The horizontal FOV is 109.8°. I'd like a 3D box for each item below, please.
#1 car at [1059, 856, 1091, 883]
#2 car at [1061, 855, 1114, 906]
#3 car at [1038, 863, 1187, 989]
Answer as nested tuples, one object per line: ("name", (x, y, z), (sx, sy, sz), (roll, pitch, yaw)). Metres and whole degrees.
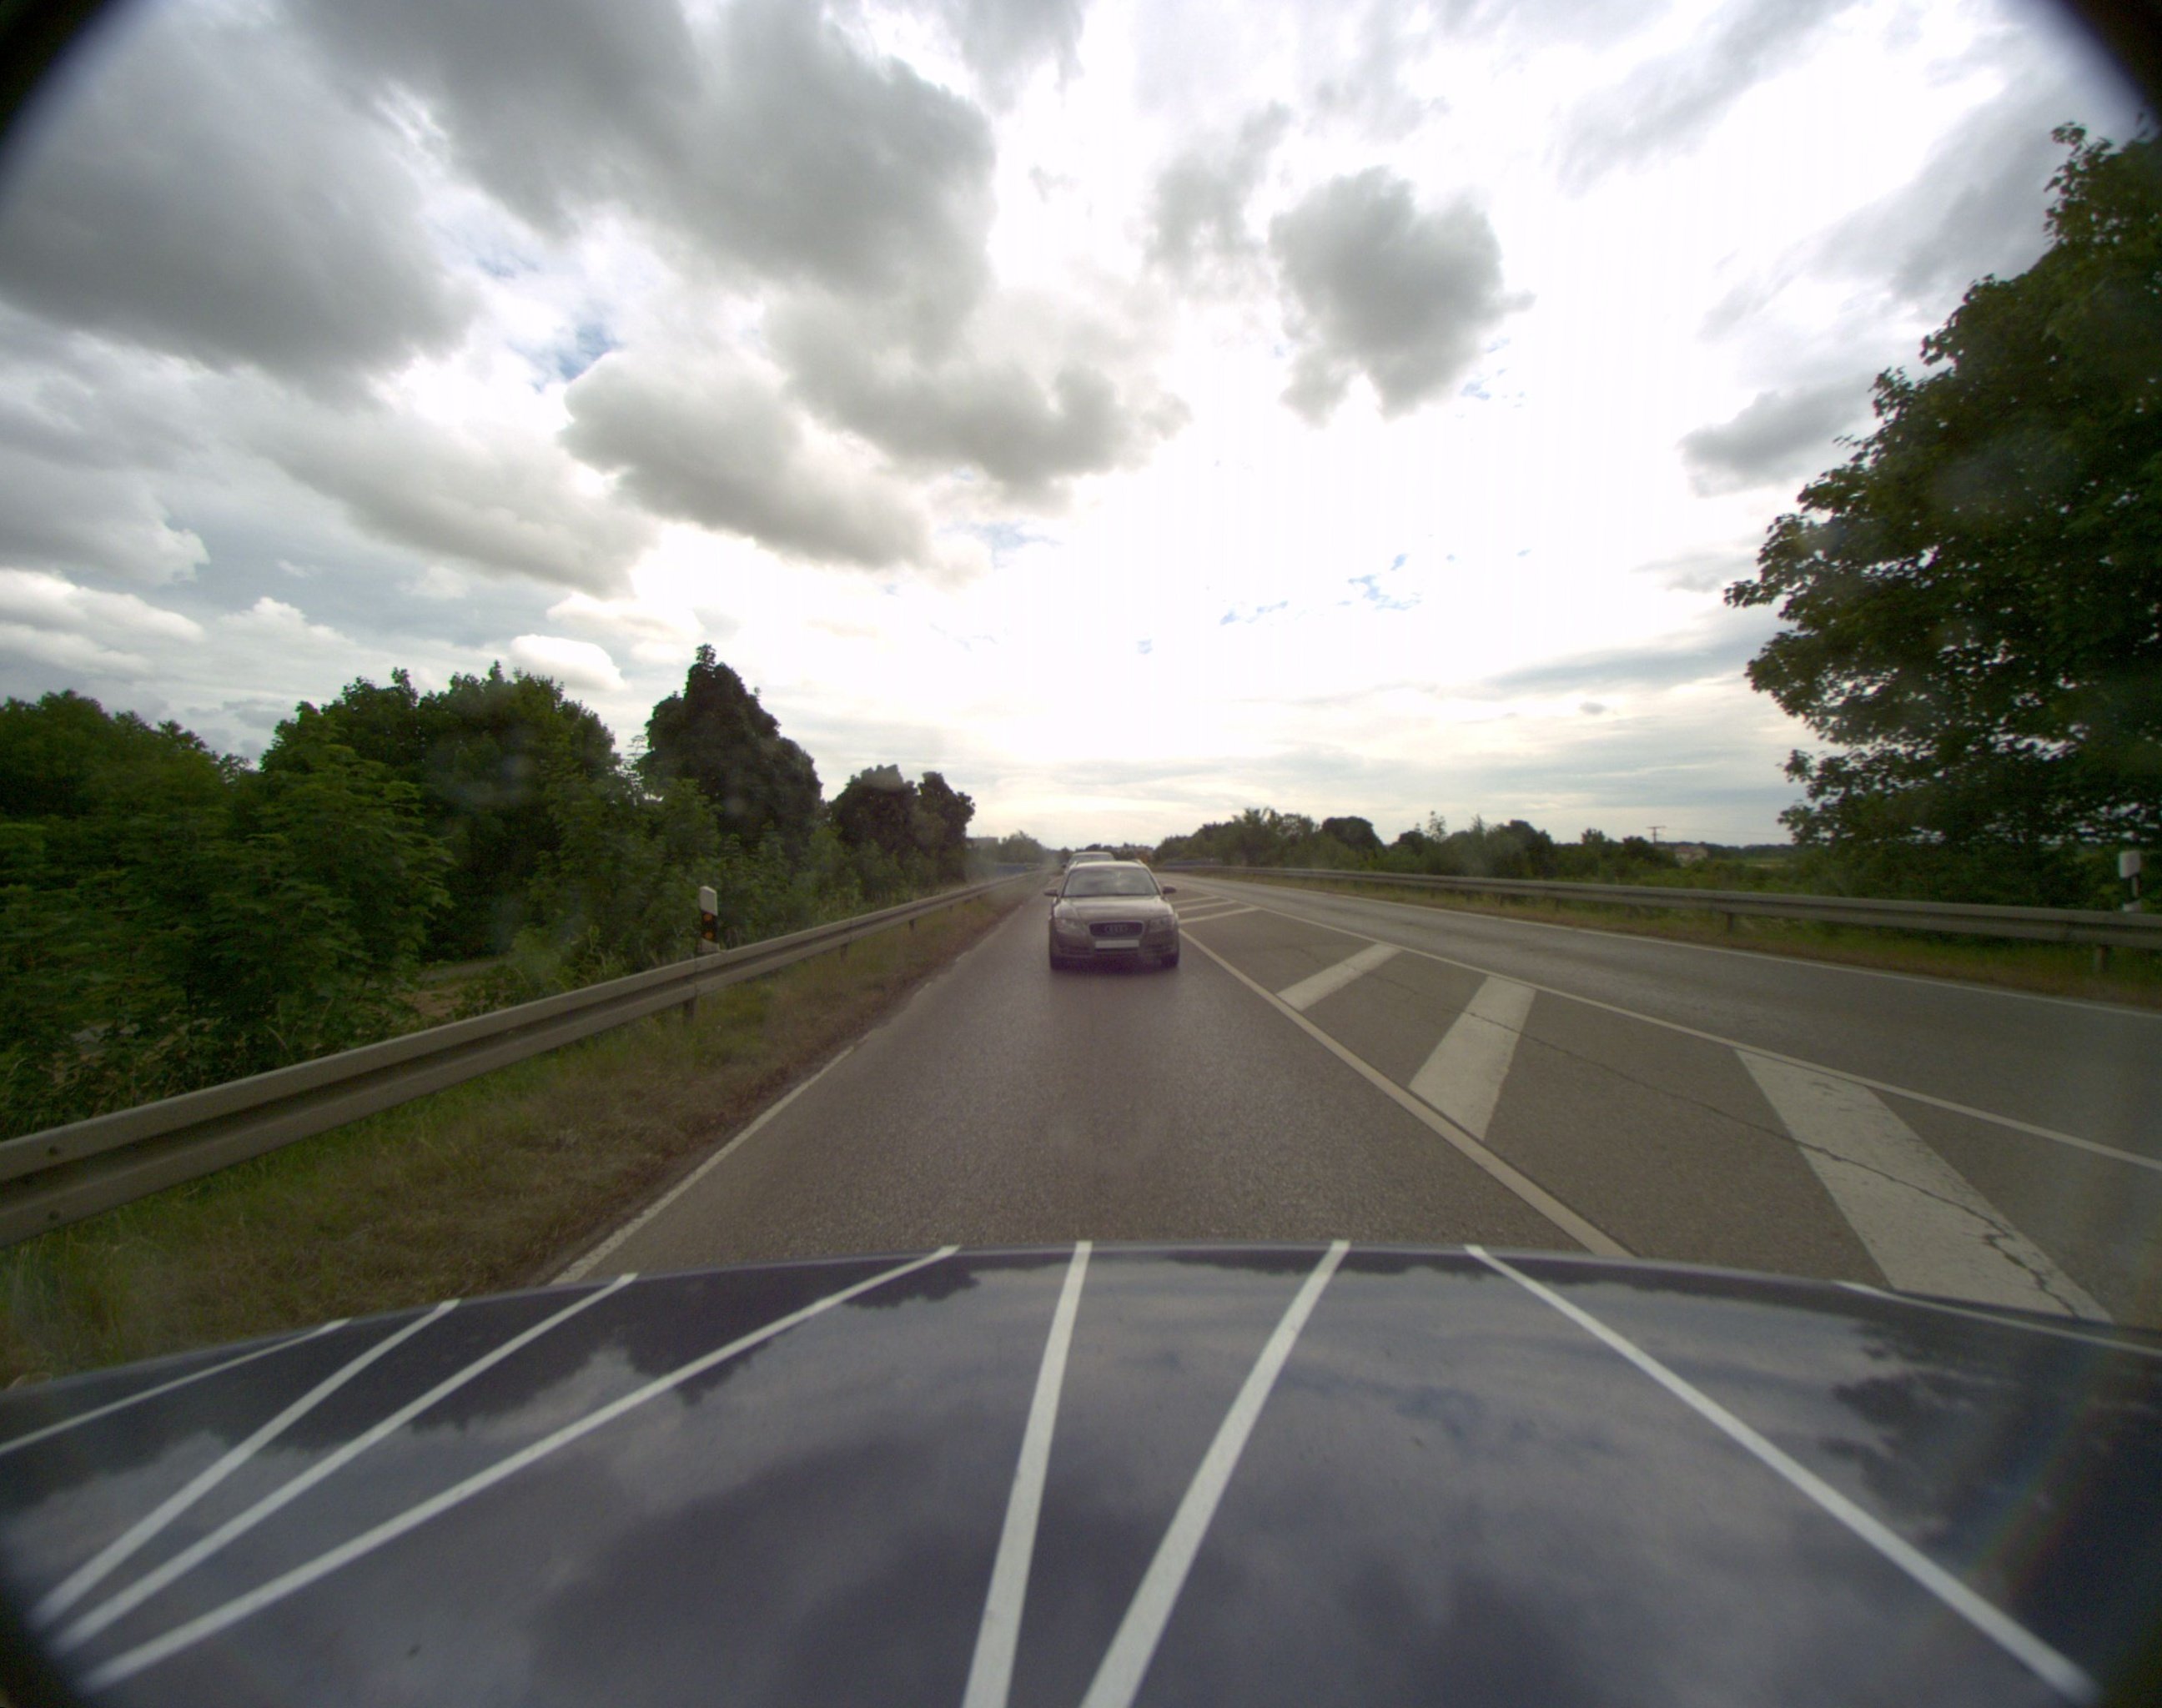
("car", (-0.319, 0.842, 42.658), (1.670, 1.339, 3.999), (-2, 0, 0))
("car", (0.213, 0.834, 25.748), (1.603, 1.494, 3.962), (-2, 0, 1))
("car", (0.363, 0.898, 11.115), (1.768, 1.383, 3.875), (-2, 1, -1))
